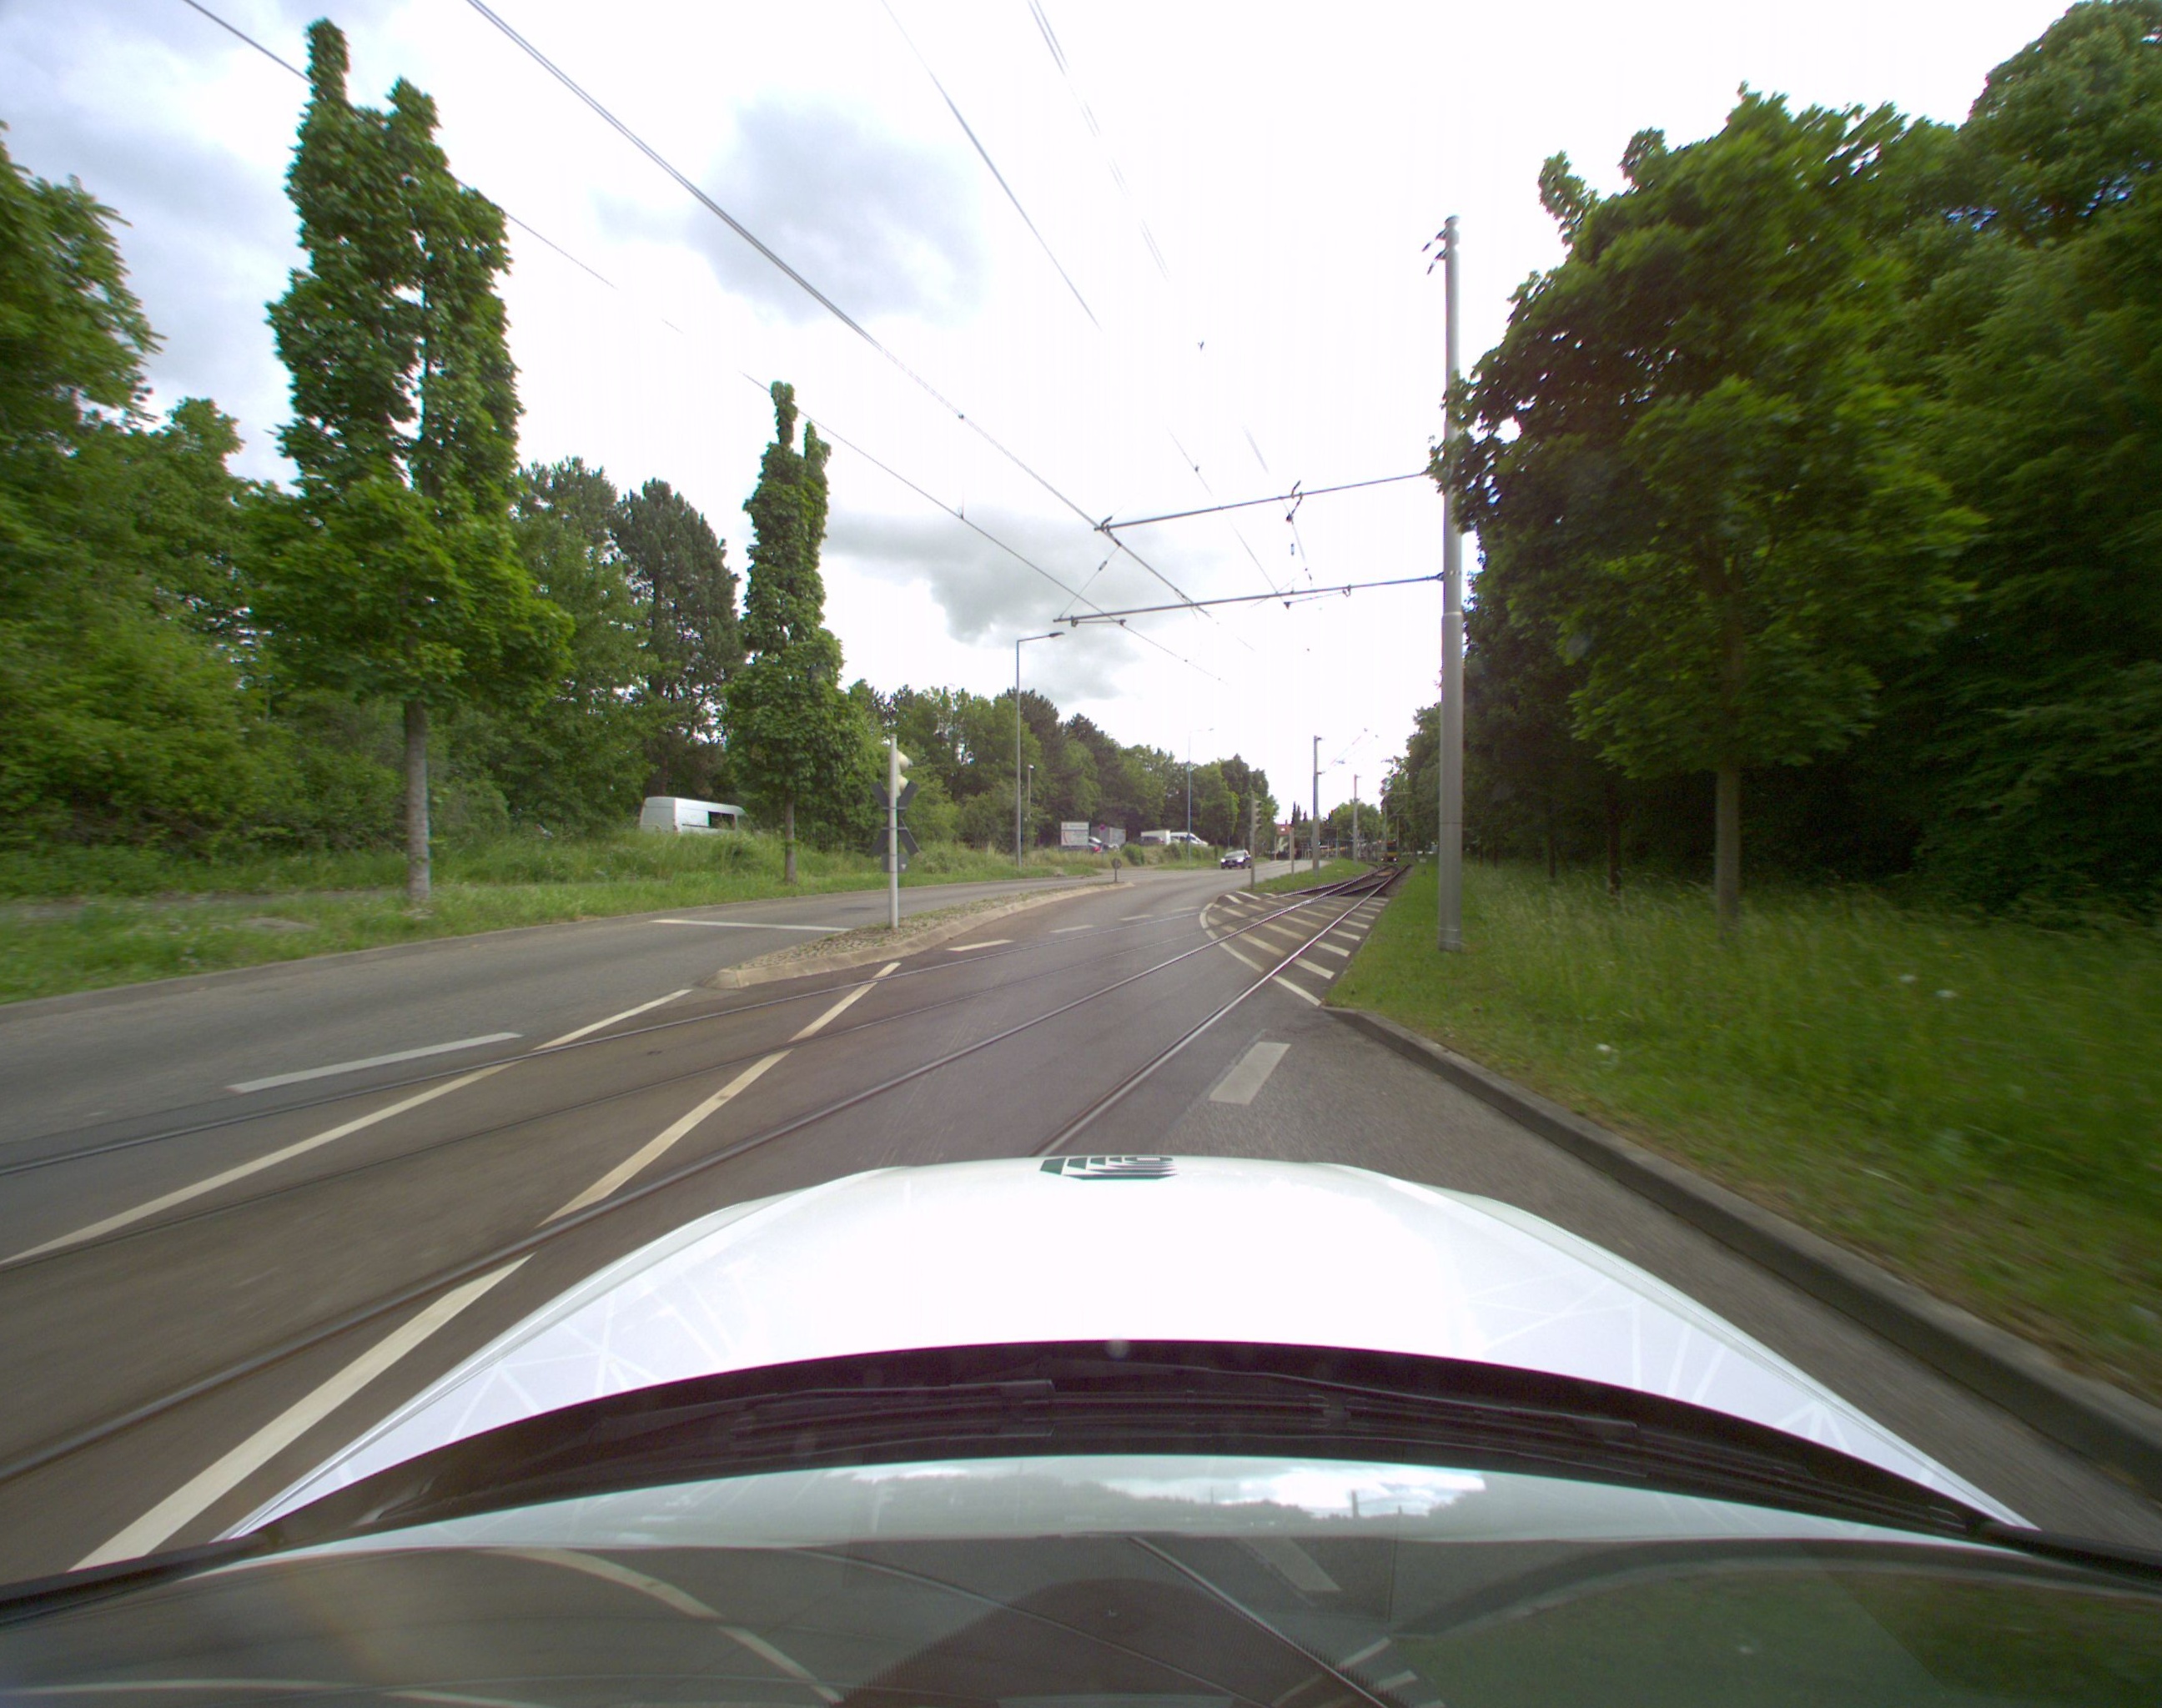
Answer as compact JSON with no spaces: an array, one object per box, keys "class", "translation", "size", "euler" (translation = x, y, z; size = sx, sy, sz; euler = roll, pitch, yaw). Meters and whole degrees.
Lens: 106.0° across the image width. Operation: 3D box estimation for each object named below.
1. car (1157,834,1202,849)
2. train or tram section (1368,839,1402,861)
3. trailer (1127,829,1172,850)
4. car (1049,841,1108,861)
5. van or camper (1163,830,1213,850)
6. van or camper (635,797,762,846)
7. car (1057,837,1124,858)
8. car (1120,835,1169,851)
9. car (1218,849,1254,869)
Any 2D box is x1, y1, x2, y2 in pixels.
[{"class":"car","translation":[10.975,-1.372,90.986],"size":[4.600,1.656,2.012],"euler":[1,0,26]},{"class":"train or tram section","translation":[52.938,-0.729,142.610],"size":[2.985,3.310,34.861],"euler":[1,1,16]},{"class":"trailer","translation":[6.720,-1.383,79.890],"size":[3.952,2.013,1.918],"euler":[1,1,22]},{"class":"car","translation":[-0.204,-0.219,60.326],"size":[3.923,1.397,2.009],"euler":[1,1,17]},{"class":"van or camper","translation":[12.254,-1.565,93.315],"size":[5.289,2.202,2.010],"euler":[1,1,19]},{"class":"van or camper","translation":[-15.670,-1.294,33.671],"size":[1.976,1.877,4.654],"euler":[1,1,21]},{"class":"car","translation":[0.789,-0.540,65.288],"size":[4.886,1.585,2.217],"euler":[1,0,18]},{"class":"car","translation":[6.007,-1.023,76.898],"size":[4.279,1.448,1.844],"euler":[-1,0,15]},{"class":"car","translation":[11.885,0.347,62.329],"size":[1.977,1.438,4.448],"euler":[-2,0,20]}]
